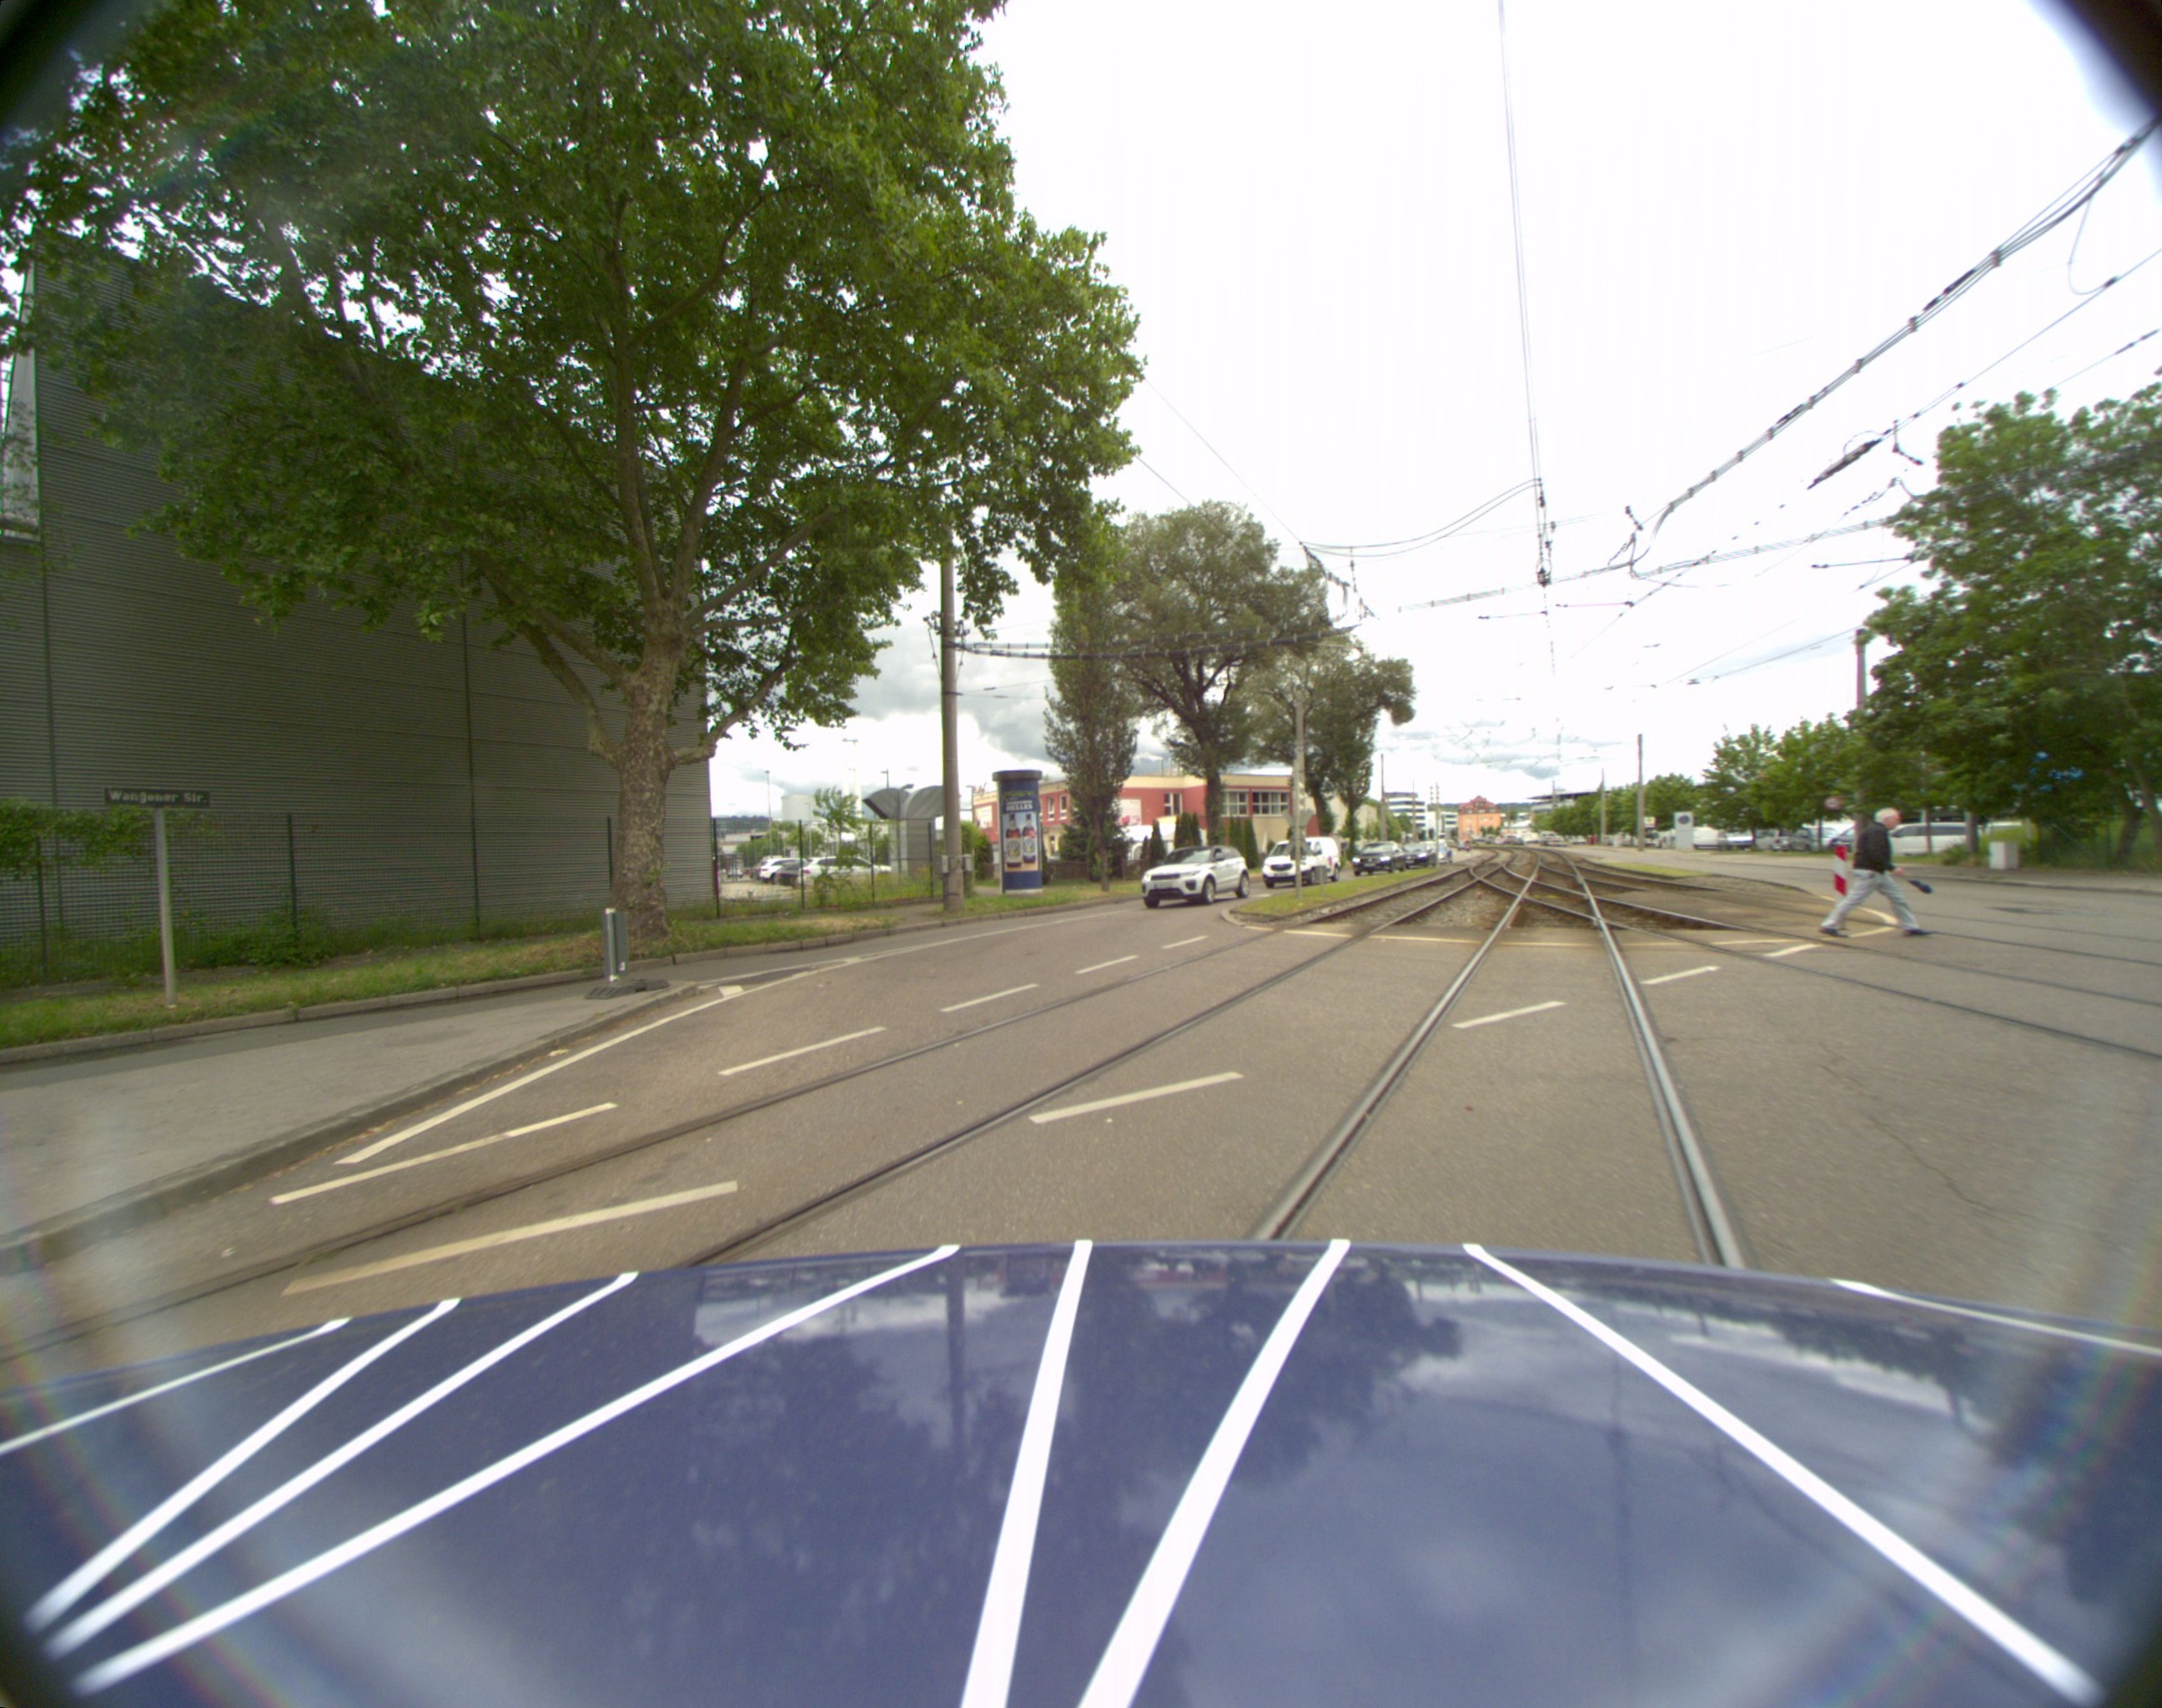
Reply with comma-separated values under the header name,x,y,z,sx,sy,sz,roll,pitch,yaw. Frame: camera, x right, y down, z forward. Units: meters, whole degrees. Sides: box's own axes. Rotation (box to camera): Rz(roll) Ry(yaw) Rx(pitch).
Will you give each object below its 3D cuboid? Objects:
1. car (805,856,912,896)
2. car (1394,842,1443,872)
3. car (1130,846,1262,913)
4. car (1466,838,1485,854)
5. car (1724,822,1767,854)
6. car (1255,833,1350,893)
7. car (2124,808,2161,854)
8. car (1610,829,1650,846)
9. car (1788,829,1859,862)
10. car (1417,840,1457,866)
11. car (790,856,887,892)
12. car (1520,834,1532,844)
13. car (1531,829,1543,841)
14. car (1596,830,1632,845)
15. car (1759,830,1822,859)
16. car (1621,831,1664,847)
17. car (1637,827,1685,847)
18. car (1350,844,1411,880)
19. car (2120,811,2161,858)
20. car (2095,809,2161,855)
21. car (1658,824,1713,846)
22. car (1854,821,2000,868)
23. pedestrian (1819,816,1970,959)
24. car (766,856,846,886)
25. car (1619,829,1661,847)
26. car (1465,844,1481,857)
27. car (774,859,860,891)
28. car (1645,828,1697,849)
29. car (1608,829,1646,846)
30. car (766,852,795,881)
name,x,y,z,sx,sy,sz,roll,pitch,yaw
car,-10.603,0.990,36.300,4.508,1.656,1.995,-2,1,-29
car,20.133,0.136,45.236,1.995,1.547,4.569,-3,0,31
car,3.364,0.670,21.537,1.994,1.680,4.278,-2,-1,35
car,48.362,-1.019,93.069,1.866,1.739,4.007,-5,-1,29
car,67.719,-1.670,77.495,2.316,2.993,6.169,-5,-1,33
car,8.681,0.295,29.445,1.995,1.990,5.043,-4,0,34
car,61.267,-1.408,41.051,1.983,2.446,5.652,-4,-1,-37
car,87.313,-2.610,120.899,4.629,2.195,2.112,-5,-1,26
car,52.732,-0.643,54.095,2.137,2.103,4.784,-5,-1,27
car,24.768,-0.108,52.763,1.995,1.547,4.569,-3,0,31
car,-12.803,1.004,40.151,4.508,1.656,1.995,-2,1,-29
car,87.241,-2.948,148.905,1.901,1.708,4.143,-4,1,32
car,112.858,-4.692,188.127,2.406,2.930,4.757,-5,-1,31
car,92.696,-2.841,132.185,4.629,2.195,2.112,-5,-1,26
car,55.616,-0.756,59.698,2.138,2.103,4.784,-5,-1,25
car,81.264,-2.139,109.980,4.629,1.829,2.112,-5,-1,26
car,75.901,-2.251,99.498,4.629,2.195,2.112,-5,-1,26
car,15.025,0.377,37.969,1.995,1.547,4.569,-3,0,31
car,55.512,-1.124,36.890,2.056,2.254,5.851,-4,-1,-34
car,58.029,-1.270,39.718,2.056,2.254,5.840,-4,-1,-34
car,71.559,-2.216,89.970,4.629,2.195,2.112,-5,-1,26
car,49.338,-0.539,44.490,5.259,2.254,2.003,-5,-1,31
pedestrian,10.583,0.437,9.947,1.118,1.749,0.815,-4,0,35
car,-17.601,1.073,48.703,4.508,1.656,1.995,-2,1,-29
car,82.424,-2.377,112.084,4.629,2.195,2.112,-5,-1,26
car,57.336,-0.515,110.980,1.866,1.739,4.007,-5,-1,29
car,-15.574,1.217,44.875,4.508,1.656,1.995,-2,1,-29
car,73.543,-1.895,94.789,4.629,2.195,2.112,-5,-1,26
car,88.430,-2.660,123.087,4.629,2.195,2.112,-5,-1,26
car,-34.134,1.412,86.238,1.977,2.945,5.578,-4,-1,-31
